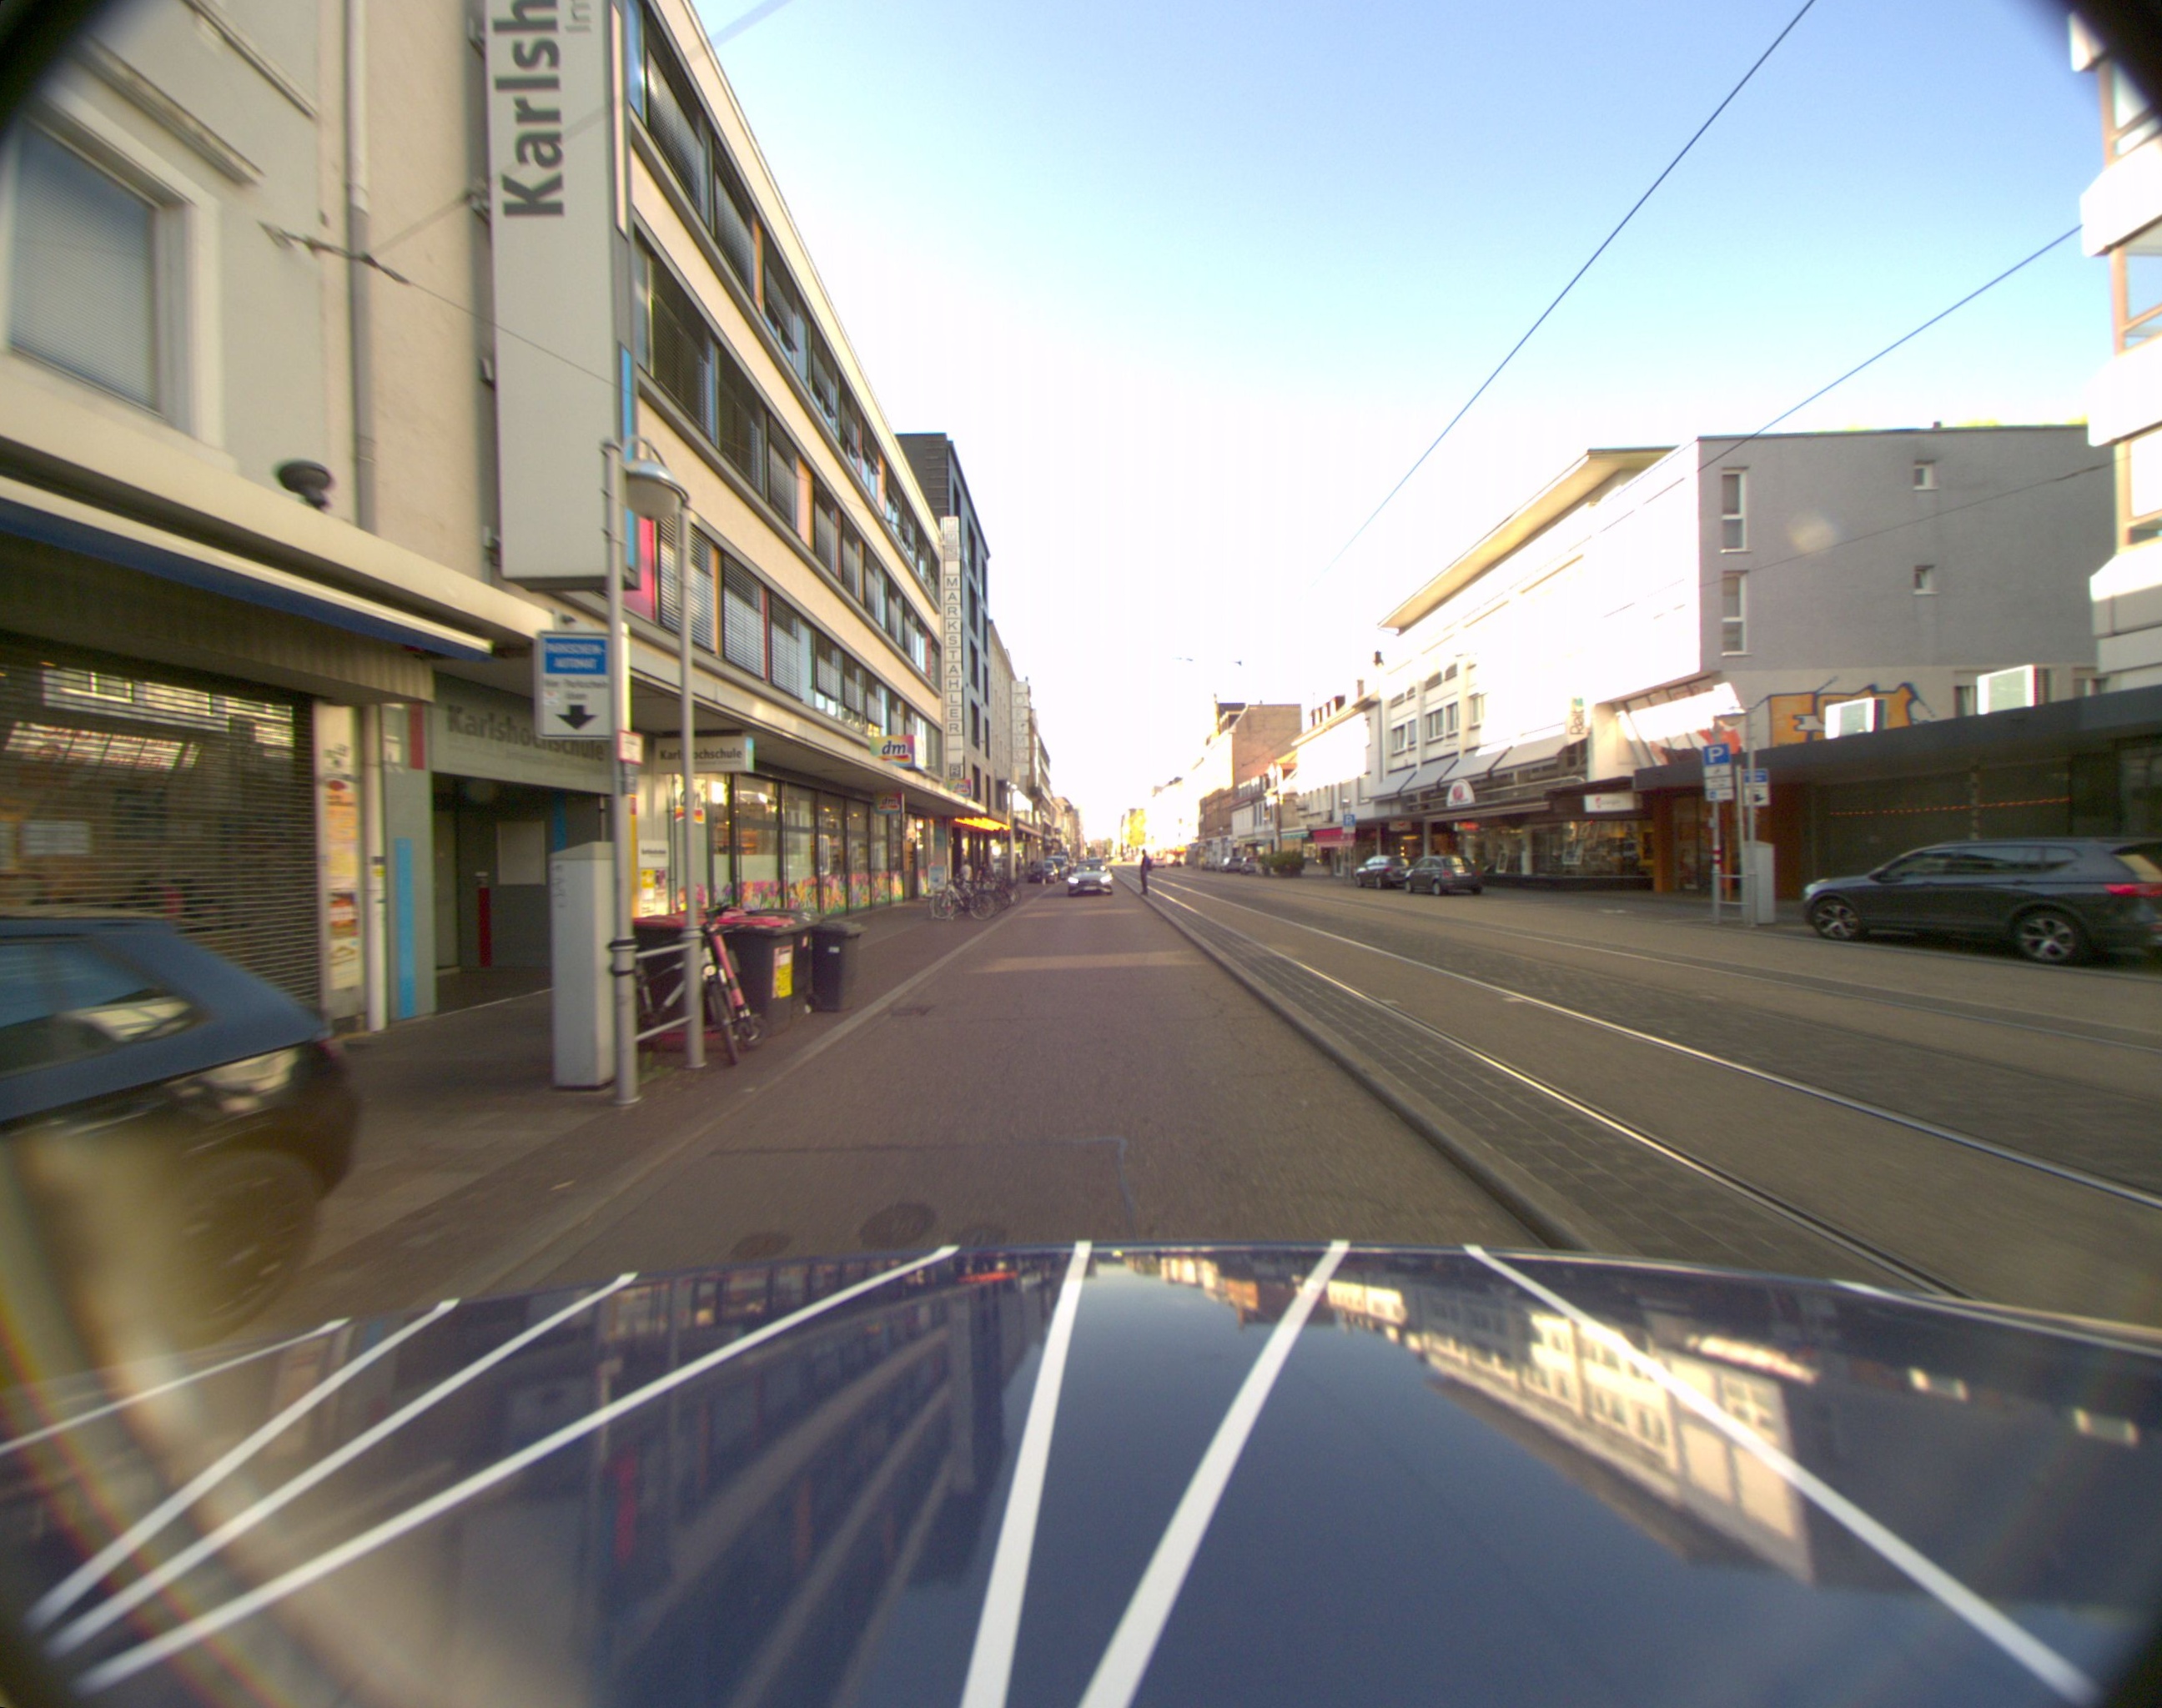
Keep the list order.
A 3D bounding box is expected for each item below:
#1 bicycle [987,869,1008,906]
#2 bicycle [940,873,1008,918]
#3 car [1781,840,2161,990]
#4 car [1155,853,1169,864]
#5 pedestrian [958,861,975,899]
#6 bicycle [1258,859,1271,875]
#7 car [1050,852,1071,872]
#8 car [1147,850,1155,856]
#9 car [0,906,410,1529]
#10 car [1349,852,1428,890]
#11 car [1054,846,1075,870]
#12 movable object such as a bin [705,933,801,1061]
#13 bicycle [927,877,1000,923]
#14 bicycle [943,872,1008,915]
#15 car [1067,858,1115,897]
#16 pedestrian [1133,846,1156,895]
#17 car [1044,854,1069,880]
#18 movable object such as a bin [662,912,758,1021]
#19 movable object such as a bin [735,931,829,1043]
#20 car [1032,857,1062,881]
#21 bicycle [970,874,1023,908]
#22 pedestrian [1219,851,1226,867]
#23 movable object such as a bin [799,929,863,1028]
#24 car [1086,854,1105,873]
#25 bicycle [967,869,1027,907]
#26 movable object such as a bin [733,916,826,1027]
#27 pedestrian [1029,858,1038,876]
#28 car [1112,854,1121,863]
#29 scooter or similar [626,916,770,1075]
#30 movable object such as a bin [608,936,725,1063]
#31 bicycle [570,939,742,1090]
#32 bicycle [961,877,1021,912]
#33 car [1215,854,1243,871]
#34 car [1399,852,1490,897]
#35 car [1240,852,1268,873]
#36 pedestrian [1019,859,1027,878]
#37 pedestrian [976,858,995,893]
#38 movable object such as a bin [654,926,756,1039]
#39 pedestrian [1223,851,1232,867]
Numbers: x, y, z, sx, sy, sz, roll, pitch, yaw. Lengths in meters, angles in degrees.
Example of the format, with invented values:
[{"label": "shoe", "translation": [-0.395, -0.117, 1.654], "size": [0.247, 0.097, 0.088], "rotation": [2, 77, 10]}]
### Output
[{"label": "bicycle", "translation": [-3.025, 1.192, 27.514], "size": [0.583, 1.250, 1.601], "rotation": [1, 1, -1]}, {"label": "bicycle", "translation": [-2.951, 1.151, 21.130], "size": [1.792, 1.210, 0.669], "rotation": [0, 0, 0]}, {"label": "car", "translation": [13.438, 0.693, 11.196], "size": [1.983, 1.669, 4.655], "rotation": [-3, 0, 2]}, {"label": "car", "translation": [12.123, 0.668, 113.935], "size": [1.802, 1.625, 3.676], "rotation": [-1, 1, 1]}, {"label": "pedestrian", "translation": [-4.814, 1.089, 32.004], "size": [0.583, 1.576, 0.598], "rotation": [1, 1, -1]}, {"label": "bicycle", "translation": [13.582, 0.939, 56.284], "size": [0.519, 1.084, 1.716], "rotation": [-3, 1, 1]}, {"label": "car", "translation": [-2.077, 0.757, 77.116], "size": [2.051, 1.899, 4.877], "rotation": [0, 1, -2]}, {"label": "car", "translation": [17.838, -0.271, 193.953], "size": [1.630, 1.524, 3.464], "rotation": [1, 1, 1]}, {"label": "car", "translation": [-3.609, 0.989, 1.096], "size": [1.618, 1.519, 4.070], "rotation": [0, 0, 1]}, {"label": "car", "translation": [13.990, 0.736, 34.898], "size": [1.741, 1.514, 4.852], "rotation": [-3, 0, 2]}, {"label": "car", "translation": [-1.747, 0.461, 84.325], "size": [2.051, 2.486, 5.687], "rotation": [-3, -1, 0]}, {"label": "movable object such as a bin", "translation": [-2.901, 1.242, 6.768], "size": [0.523, 1.008, 0.671], "rotation": [0, 1, 4]}, {"label": "bicycle", "translation": [-3.056, 1.194, 19.863], "size": [1.792, 1.153, 0.669], "rotation": [0, 0, 0]}, {"label": "bicycle", "translation": [-3.022, 1.139, 21.890], "size": [1.792, 1.210, 0.587], "rotation": [0, 0, 0]}, {"label": "car", "translation": [0.416, 0.938, 32.039], "size": [1.858, 1.463, 4.786], "rotation": [-1, 0, 1]}, {"label": "pedestrian", "translation": [2.453, 0.621, 29.230], "size": [0.806, 1.827, 0.746], "rotation": [1, 1, 0]}, {"label": "car", "translation": [-1.850, 0.932, 56.775], "size": [1.821, 1.849, 4.549], "rotation": [0, 1, -2]}, {"label": "movable object such as a bin", "translation": [-4.035, 1.208, 8.303], "size": [0.692, 1.082, 0.666], "rotation": [0, 1, 4]}, {"label": "movable object such as a bin", "translation": [-2.919, 1.282, 7.451], "size": [0.688, 1.008, 0.508], "rotation": [0, 1, 4]}, {"label": "car", "translation": [-2.215, 0.954, 50.423], "size": [1.726, 1.476, 4.416], "rotation": [1, 1, 1]}, {"label": "bicycle", "translation": [-2.860, 1.242, 25.821], "size": [1.778, 1.124, 0.478], "rotation": [0, 0, -4]}, {"label": "pedestrian", "translation": [16.317, 0.557, 87.575], "size": [0.581, 1.795, 0.659], "rotation": [-3, 1, 13]}, {"label": "movable object such as a bin", "translation": [-2.615, 1.290, 7.967], "size": [0.488, 0.952, 0.458], "rotation": [0, 1, 4]}, {"label": "car", "translation": [1.289, 0.817, 68.376], "size": [1.630, 1.593, 3.330], "rotation": [1, 1, 1]}, {"label": "bicycle", "translation": [-2.949, 1.176, 26.590], "size": [2.042, 1.267, 0.524], "rotation": [0, 0, -9]}, {"label": "movable object such as a bin", "translation": [-3.250, 1.251, 8.237], "size": [0.692, 1.082, 0.686], "rotation": [0, 1, 4]}, {"label": "pedestrian", "translation": [-4.043, 1.131, 64.731], "size": [0.697, 1.499, 0.814], "rotation": [-1, 0, 1]}, {"label": "car", "translation": [8.418, 1.105, 179.702], "size": [1.998, 2.002, 4.000], "rotation": [-3, 1, 2]}, {"label": "scooter or similar", "translation": [-3.088, 1.131, 6.157], "size": [0.995, 1.224, 0.320], "rotation": [1, 1, 0]}, {"label": "movable object such as a bin", "translation": [-3.681, 1.271, 6.787], "size": [0.659, 1.008, 0.636], "rotation": [0, 1, 4]}, {"label": "bicycle", "translation": [-3.233, 1.215, 5.812], "size": [1.134, 1.073, 0.320], "rotation": [1, 1, 0]}, {"label": "bicycle", "translation": [-2.775, 1.248, 23.480], "size": [1.778, 1.026, 0.597], "rotation": [0, 0, 0]}, {"label": "car", "translation": [14.144, 0.782, 72.950], "size": [1.822, 1.505, 4.762], "rotation": [-2, 0, 1]}, {"label": "car", "translation": [13.711, 0.738, 28.874], "size": [1.605, 1.514, 3.589], "rotation": [-3, 0, -1]}, {"label": "car", "translation": [14.473, 0.712, 63.628], "size": [1.701, 1.594, 2.891], "rotation": [-3, 1, 1]}, {"label": "pedestrian", "translation": [-4.564, 1.147, 60.084], "size": [0.577, 1.431, 0.731], "rotation": [1, 1, 1]}, {"label": "pedestrian", "translation": [-4.072, 0.919, 32.395], "size": [0.584, 1.485, 0.523], "rotation": [0, 1, -35]}, {"label": "movable object such as a bin", "translation": [-3.702, 1.250, 7.530], "size": [0.659, 1.008, 0.636], "rotation": [0, 1, 4]}, {"label": "pedestrian", "translation": [15.890, 0.556, 82.418], "size": [0.658, 1.752, 0.581], "rotation": [-3, 1, -7]}]
